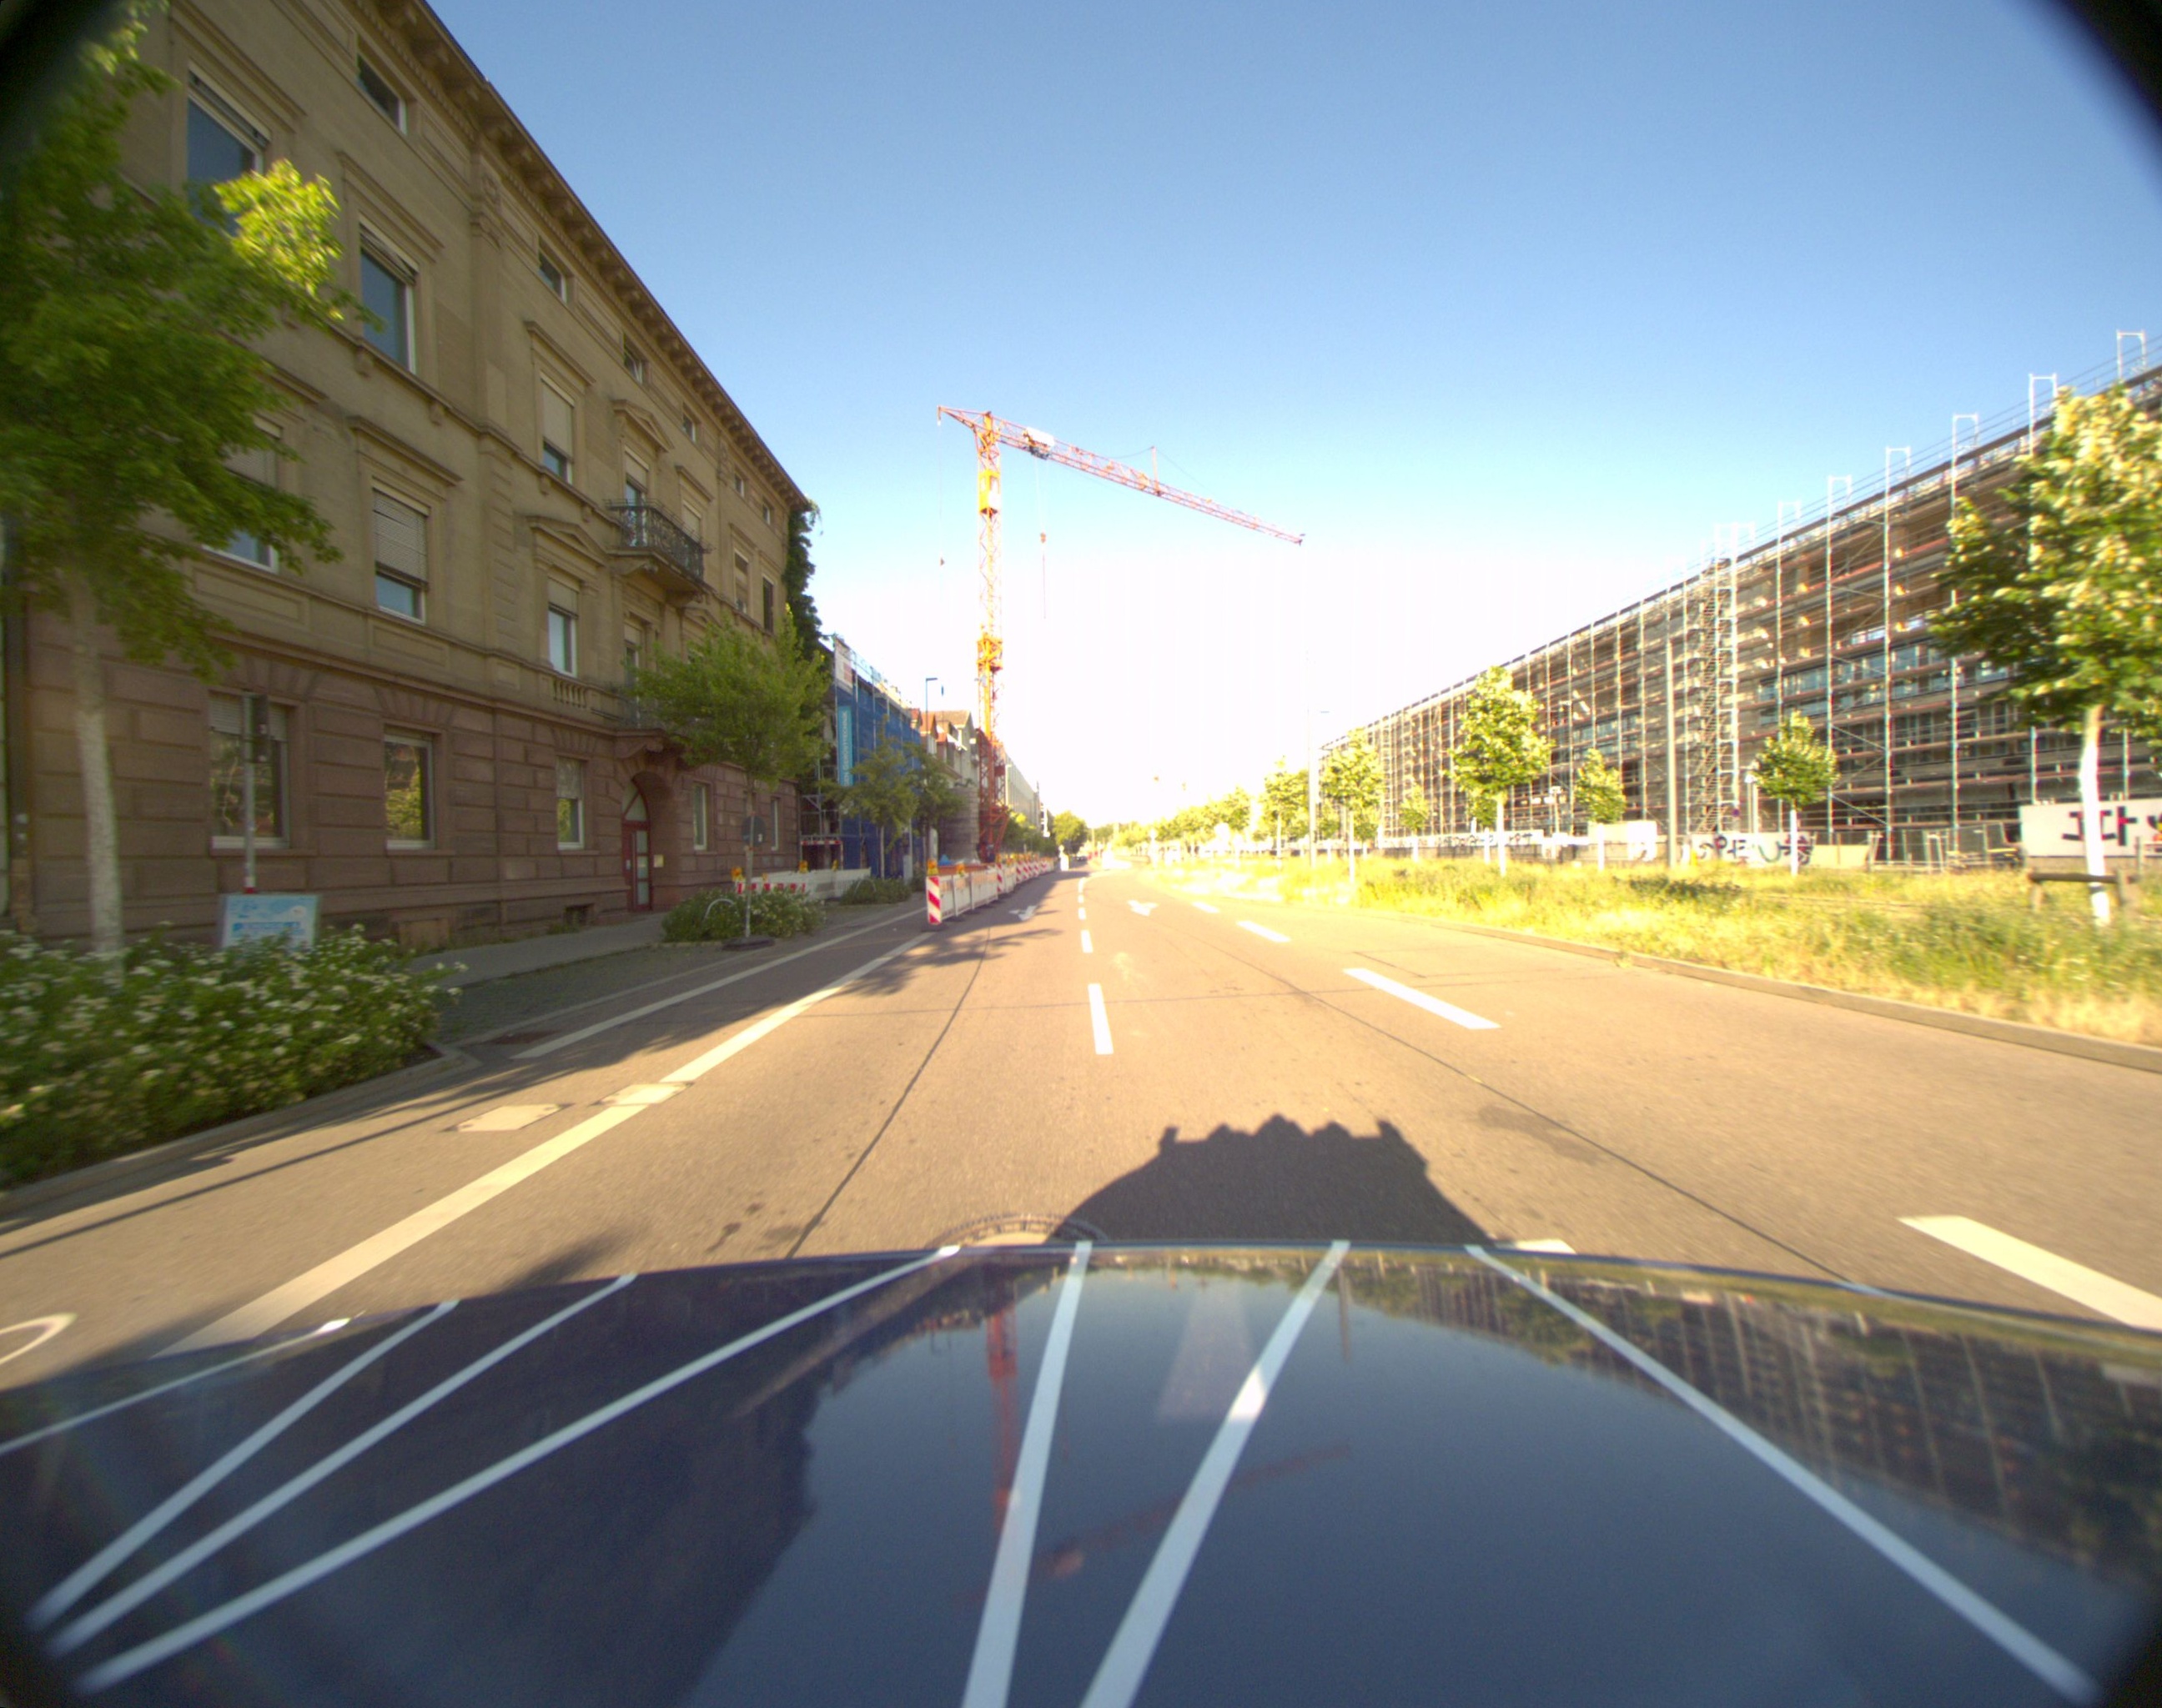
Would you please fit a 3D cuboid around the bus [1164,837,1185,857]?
[{"bbox_3d":[16.175,-1.158,131.734,2.723,3.203,8.656,-1,0,1],"label":"bus"}]

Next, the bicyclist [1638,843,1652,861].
[{"bbox_3d":[37.264,-0.147,50.201,0.480,1.147,0.638,-1,1,0],"label":"bicyclist"}]

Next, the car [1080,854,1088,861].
[{"bbox_3d":[0.798,0.869,202.753,1.998,1.696,4.000,-1,1,3],"label":"car"}]

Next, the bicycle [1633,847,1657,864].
[{"bbox_3d":[37.273,0.087,50.234,0.480,1.055,1.564,-1,0,0],"label":"bicycle"}]

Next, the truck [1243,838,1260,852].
[{"bbox_3d":[32.236,-1.625,143.858,2.143,2.559,4.740,-1,0,2],"label":"truck"}]
